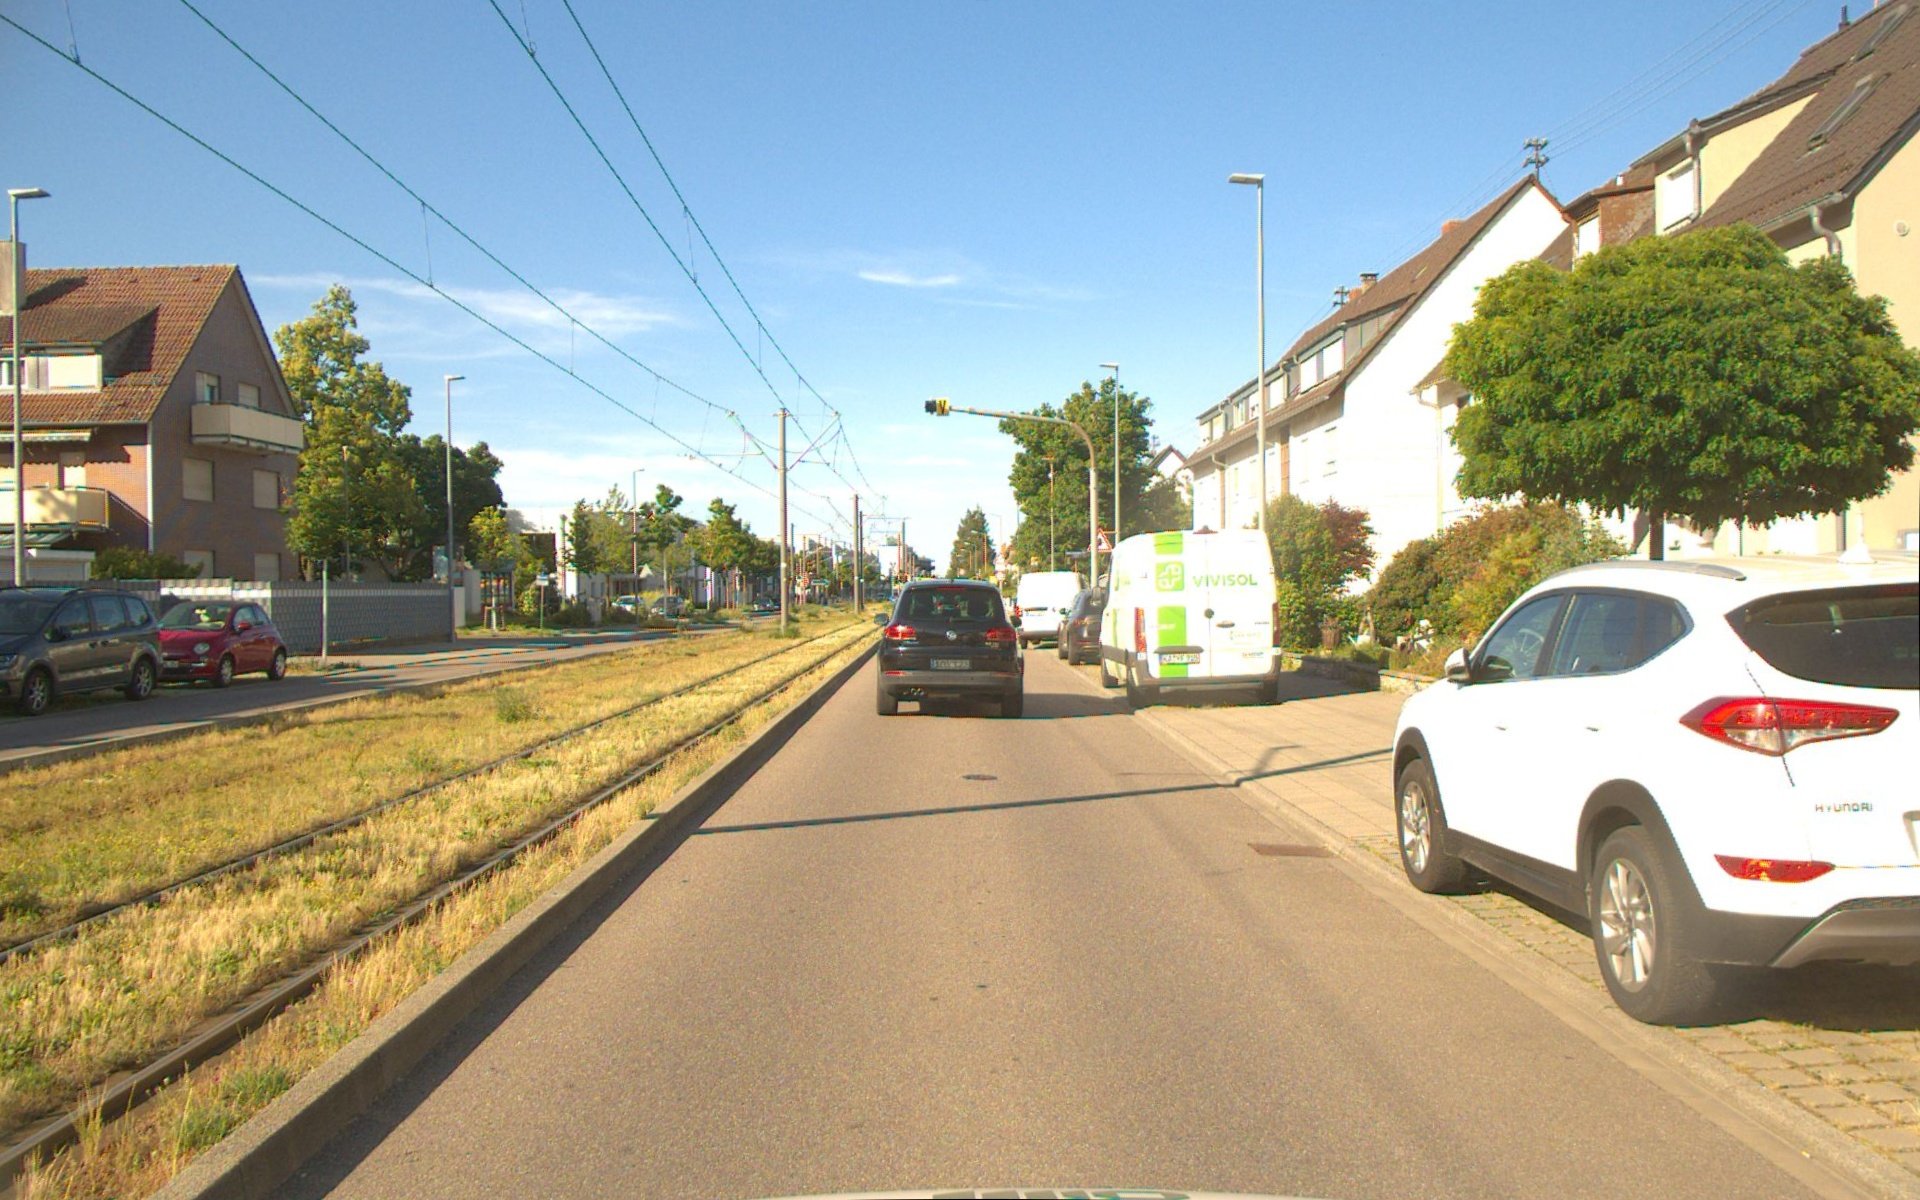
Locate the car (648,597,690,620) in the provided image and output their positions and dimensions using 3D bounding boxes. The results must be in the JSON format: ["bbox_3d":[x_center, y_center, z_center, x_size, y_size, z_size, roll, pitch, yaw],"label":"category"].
[{"bbox_3d":[-19.314,0.579,109.835,1.772,1.486,4.319,1,0,4],"label":"car"}]

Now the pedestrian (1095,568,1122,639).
[{"bbox_3d":[4.107,0.090,45.594,0.684,1.946,0.759,1,0,8],"label":"pedestrian"}]

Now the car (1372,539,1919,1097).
[{"bbox_3d":[3.231,0.635,7.196,1.690,1.674,4.317,-2,0,-1],"label":"car"}]

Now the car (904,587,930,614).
[{"bbox_3d":[-4.249,0.009,163.998,2.345,2.609,5.529,-1,0,0],"label":"car"}]

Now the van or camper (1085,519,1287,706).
[{"bbox_3d":[3.132,0.155,24.304,1.953,2.310,6.303,-2,0,-1],"label":"van or camper"}]

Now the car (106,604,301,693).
[{"bbox_3d":[-13.638,0.821,30.076,1.660,1.429,4.078,-1,0,0],"label":"car"}]

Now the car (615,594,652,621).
[{"bbox_3d":[-19.122,0.427,96.970,1.513,1.517,3.774,1,0,-2],"label":"car"}]

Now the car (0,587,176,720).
[{"bbox_3d":[-13.477,0.681,24.108,1.782,1.714,4.845,1,0,0],"label":"car"}]

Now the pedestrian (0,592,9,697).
[{"bbox_3d":[-15.584,0.704,26.055,0.682,1.669,0.919,1,0,-3],"label":"pedestrian"}]

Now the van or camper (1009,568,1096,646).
[{"bbox_3d":[2.596,0.151,45.109,1.985,1.990,5.299,-1,0,7],"label":"van or camper"}]

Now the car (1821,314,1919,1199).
[{"bbox_3d":[3.327,0.381,1.749,1.920,2.181,5.334,-2,0,-1],"label":"car"}]

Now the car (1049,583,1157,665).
[{"bbox_3d":[2.906,0.474,34.642,1.713,1.520,5.154,-2,0,-1],"label":"car"}]

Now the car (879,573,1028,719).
[{"bbox_3d":[-0.165,0.545,21.462,1.740,1.699,3.998,1,0,-3],"label":"car"}]

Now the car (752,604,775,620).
[{"bbox_3d":[-19.290,1.175,162.249,1.653,1.413,4.388,-3,0,1],"label":"car"}]
